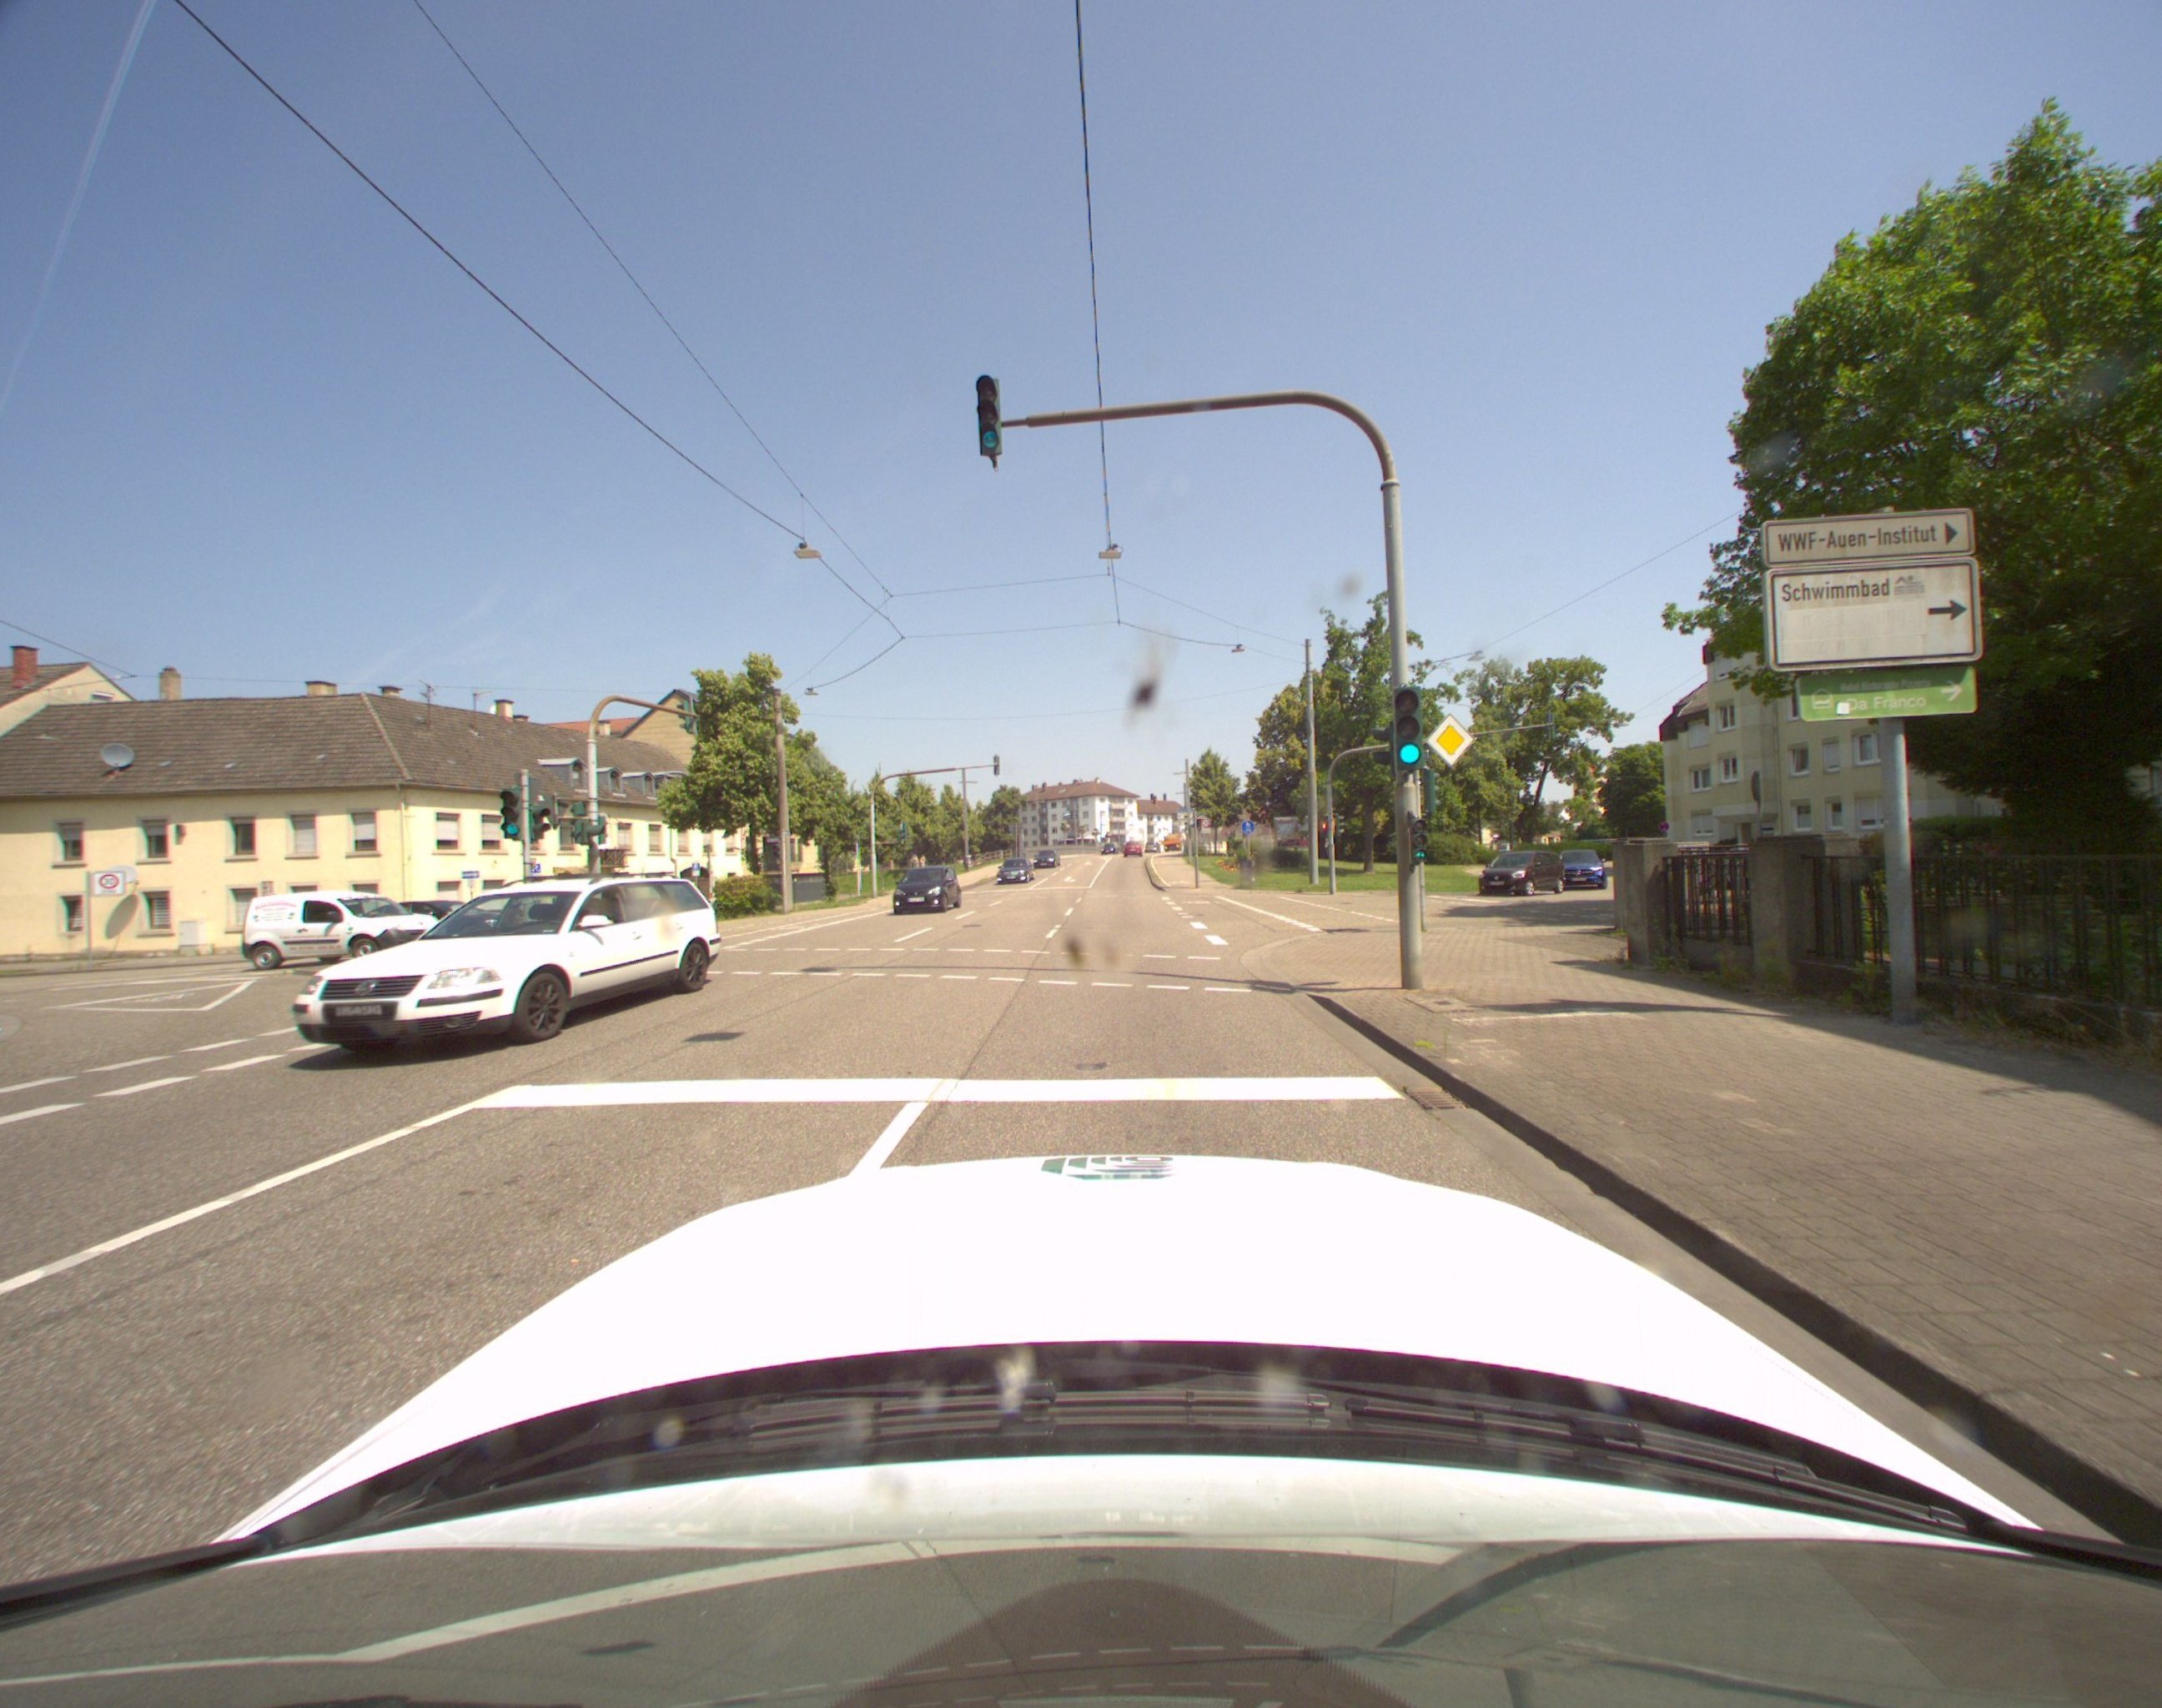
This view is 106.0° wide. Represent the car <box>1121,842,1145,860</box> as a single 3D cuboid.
[{"bbox_3d":[5.289,-0.289,81.945,1.979,1.613,4.352,-3,0,8],"label":"car"}]

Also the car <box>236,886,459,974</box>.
[{"bbox_3d":[-18.001,1.832,20.126,3.673,1.735,1.894,-4,-1,0],"label":"car"}]

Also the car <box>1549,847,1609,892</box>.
[{"bbox_3d":[21.051,0.645,34.425,1.974,1.701,4.799,-3,-2,32],"label":"car"}]

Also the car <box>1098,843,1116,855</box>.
[{"bbox_3d":[3.383,-0.648,105.328,1.704,1.485,4.041,-1,-1,9],"label":"car"}]

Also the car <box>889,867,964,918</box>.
[{"bbox_3d":[-4.975,1.203,26.602,1.610,1.456,3.711,-2,-1,1],"label":"car"}]

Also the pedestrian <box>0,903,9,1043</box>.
[{"bbox_3d":[-13.980,1.511,9.997,0.624,1.760,0.743,-2,-1,2],"label":"pedestrian"}]

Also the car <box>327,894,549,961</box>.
[{"bbox_3d":[-18.455,2.079,23.583,4.593,1.401,2.115,-5,-1,-2],"label":"car"}]

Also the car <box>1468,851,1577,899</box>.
[{"bbox_3d":[16.505,0.754,30.342,4.843,1.632,1.895,0,-2,-40],"label":"car"}]

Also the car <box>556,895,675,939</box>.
[{"bbox_3d":[-21.634,2.883,38.164,1.804,1.628,5.300,-5,-1,10],"label":"car"}]

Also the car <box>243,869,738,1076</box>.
[{"bbox_3d":[-5.658,0.978,8.770,1.809,1.518,4.632,-2,0,2],"label":"car"}]

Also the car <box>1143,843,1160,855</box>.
[{"bbox_3d":[9.893,-0.695,114.323,2.025,1.503,4.429,-1,-1,10],"label":"car"}]

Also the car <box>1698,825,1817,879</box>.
[{"bbox_3d":[23.612,0.011,28.654,1.876,1.499,4.554,-8,-5,23],"label":"car"}]

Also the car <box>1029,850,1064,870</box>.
[{"bbox_3d":[-2.688,0.469,64.724,1.825,1.399,4.060,-5,-1,9],"label":"car"}]

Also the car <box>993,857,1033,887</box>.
[{"bbox_3d":[-3.917,1.019,47.745,1.749,1.560,4.320,-4,0,2],"label":"car"}]

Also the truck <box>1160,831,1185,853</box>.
[{"bbox_3d":[11.785,-1.479,104.633,2.589,2.691,5.840,-2,0,10],"label":"truck"}]
